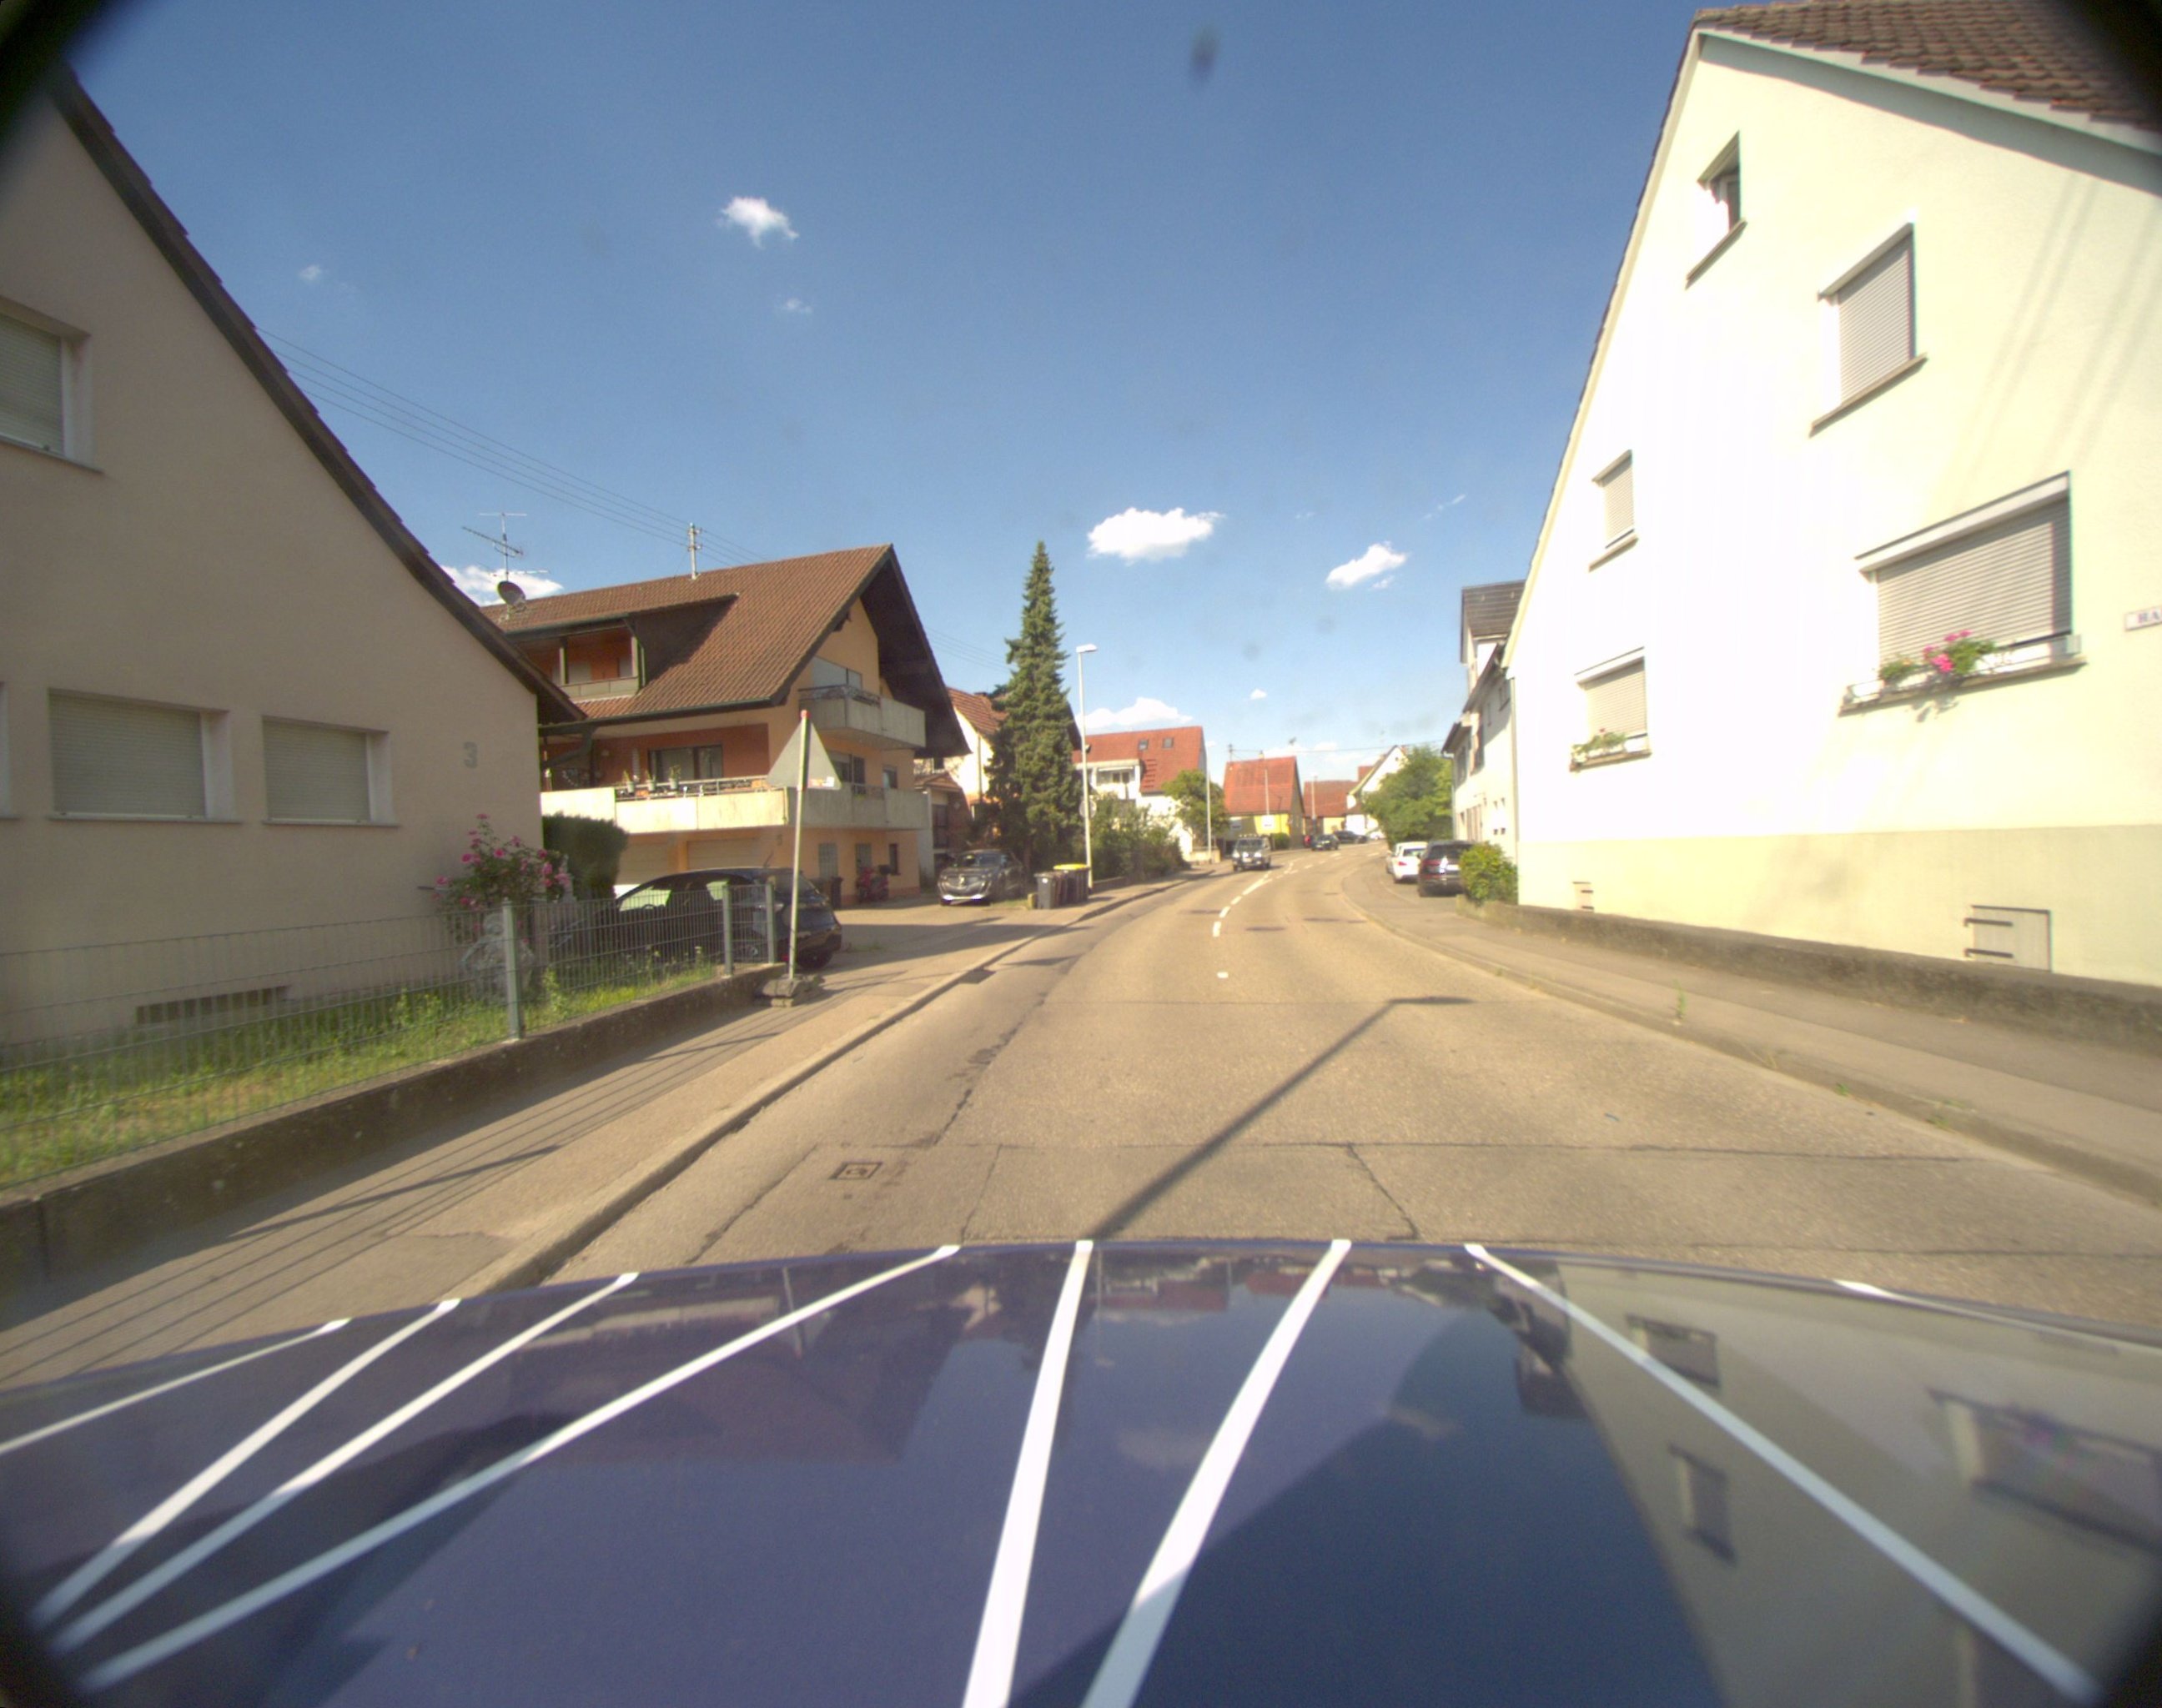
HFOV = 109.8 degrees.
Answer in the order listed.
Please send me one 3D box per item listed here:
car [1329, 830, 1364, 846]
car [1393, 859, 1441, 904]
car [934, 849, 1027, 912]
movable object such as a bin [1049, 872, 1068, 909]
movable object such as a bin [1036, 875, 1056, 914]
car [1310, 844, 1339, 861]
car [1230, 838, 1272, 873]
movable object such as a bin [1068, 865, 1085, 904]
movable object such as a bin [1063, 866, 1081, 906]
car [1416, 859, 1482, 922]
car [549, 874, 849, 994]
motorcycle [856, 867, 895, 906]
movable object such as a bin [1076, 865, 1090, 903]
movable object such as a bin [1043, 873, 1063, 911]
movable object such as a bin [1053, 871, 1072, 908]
[{"bbox_3d":[34.161,-2.043,97.770,3.989,2.002,1.978,0,1,27],"label":"car"},{"bbox_3d":[12.512,0.985,28.377,1.510,1.457,3.664,-3,0,23],"label":"car"},{"bbox_3d":[-2.836,0.703,22.258,1.645,1.508,3.802,-3,2,8],"label":"car"},{"bbox_3d":[-0.604,0.985,20.601,0.391,0.975,0.351,-2,0,14],"label":"movable object such as a bin"},{"bbox_3d":[-0.918,1.057,19.682,0.391,0.975,0.351,-2,0,14],"label":"movable object such as a bin"},{"bbox_3d":[24.261,-0.165,75.669,1.969,1.647,4.007,0,1,29],"label":"car"},{"bbox_3d":[10.460,0.050,46.448,1.817,1.988,4.828,-1,0,21],"label":"car"},{"bbox_3d":[-0.120,0.889,21.988,0.335,1.102,0.439,-2,0,14],"label":"movable object such as a bin"},{"bbox_3d":[-0.248,0.899,21.429,0.382,1.102,0.375,-2,0,14],"label":"movable object such as a bin"},{"bbox_3d":[10.677,1.007,22.239,1.510,1.584,3.664,-3,0,23],"label":"car"},{"bbox_3d":[-5.267,1.076,10.530,3.692,1.426,1.438,-3,0,17],"label":"car"},{"bbox_3d":[-6.483,0.999,24.080,0.375,1.141,1.647,-2,0,14],"label":"motorcycle"},{"bbox_3d":[0.058,0.876,22.498,0.294,1.102,0.386,-2,0,14],"label":"movable object such as a bin"},{"bbox_3d":[-0.741,1.013,20.183,0.391,0.975,0.351,-2,0,14],"label":"movable object such as a bin"},{"bbox_3d":[-0.513,0.977,21.004,0.391,0.975,0.351,-2,0,14],"label":"movable object such as a bin"}]
